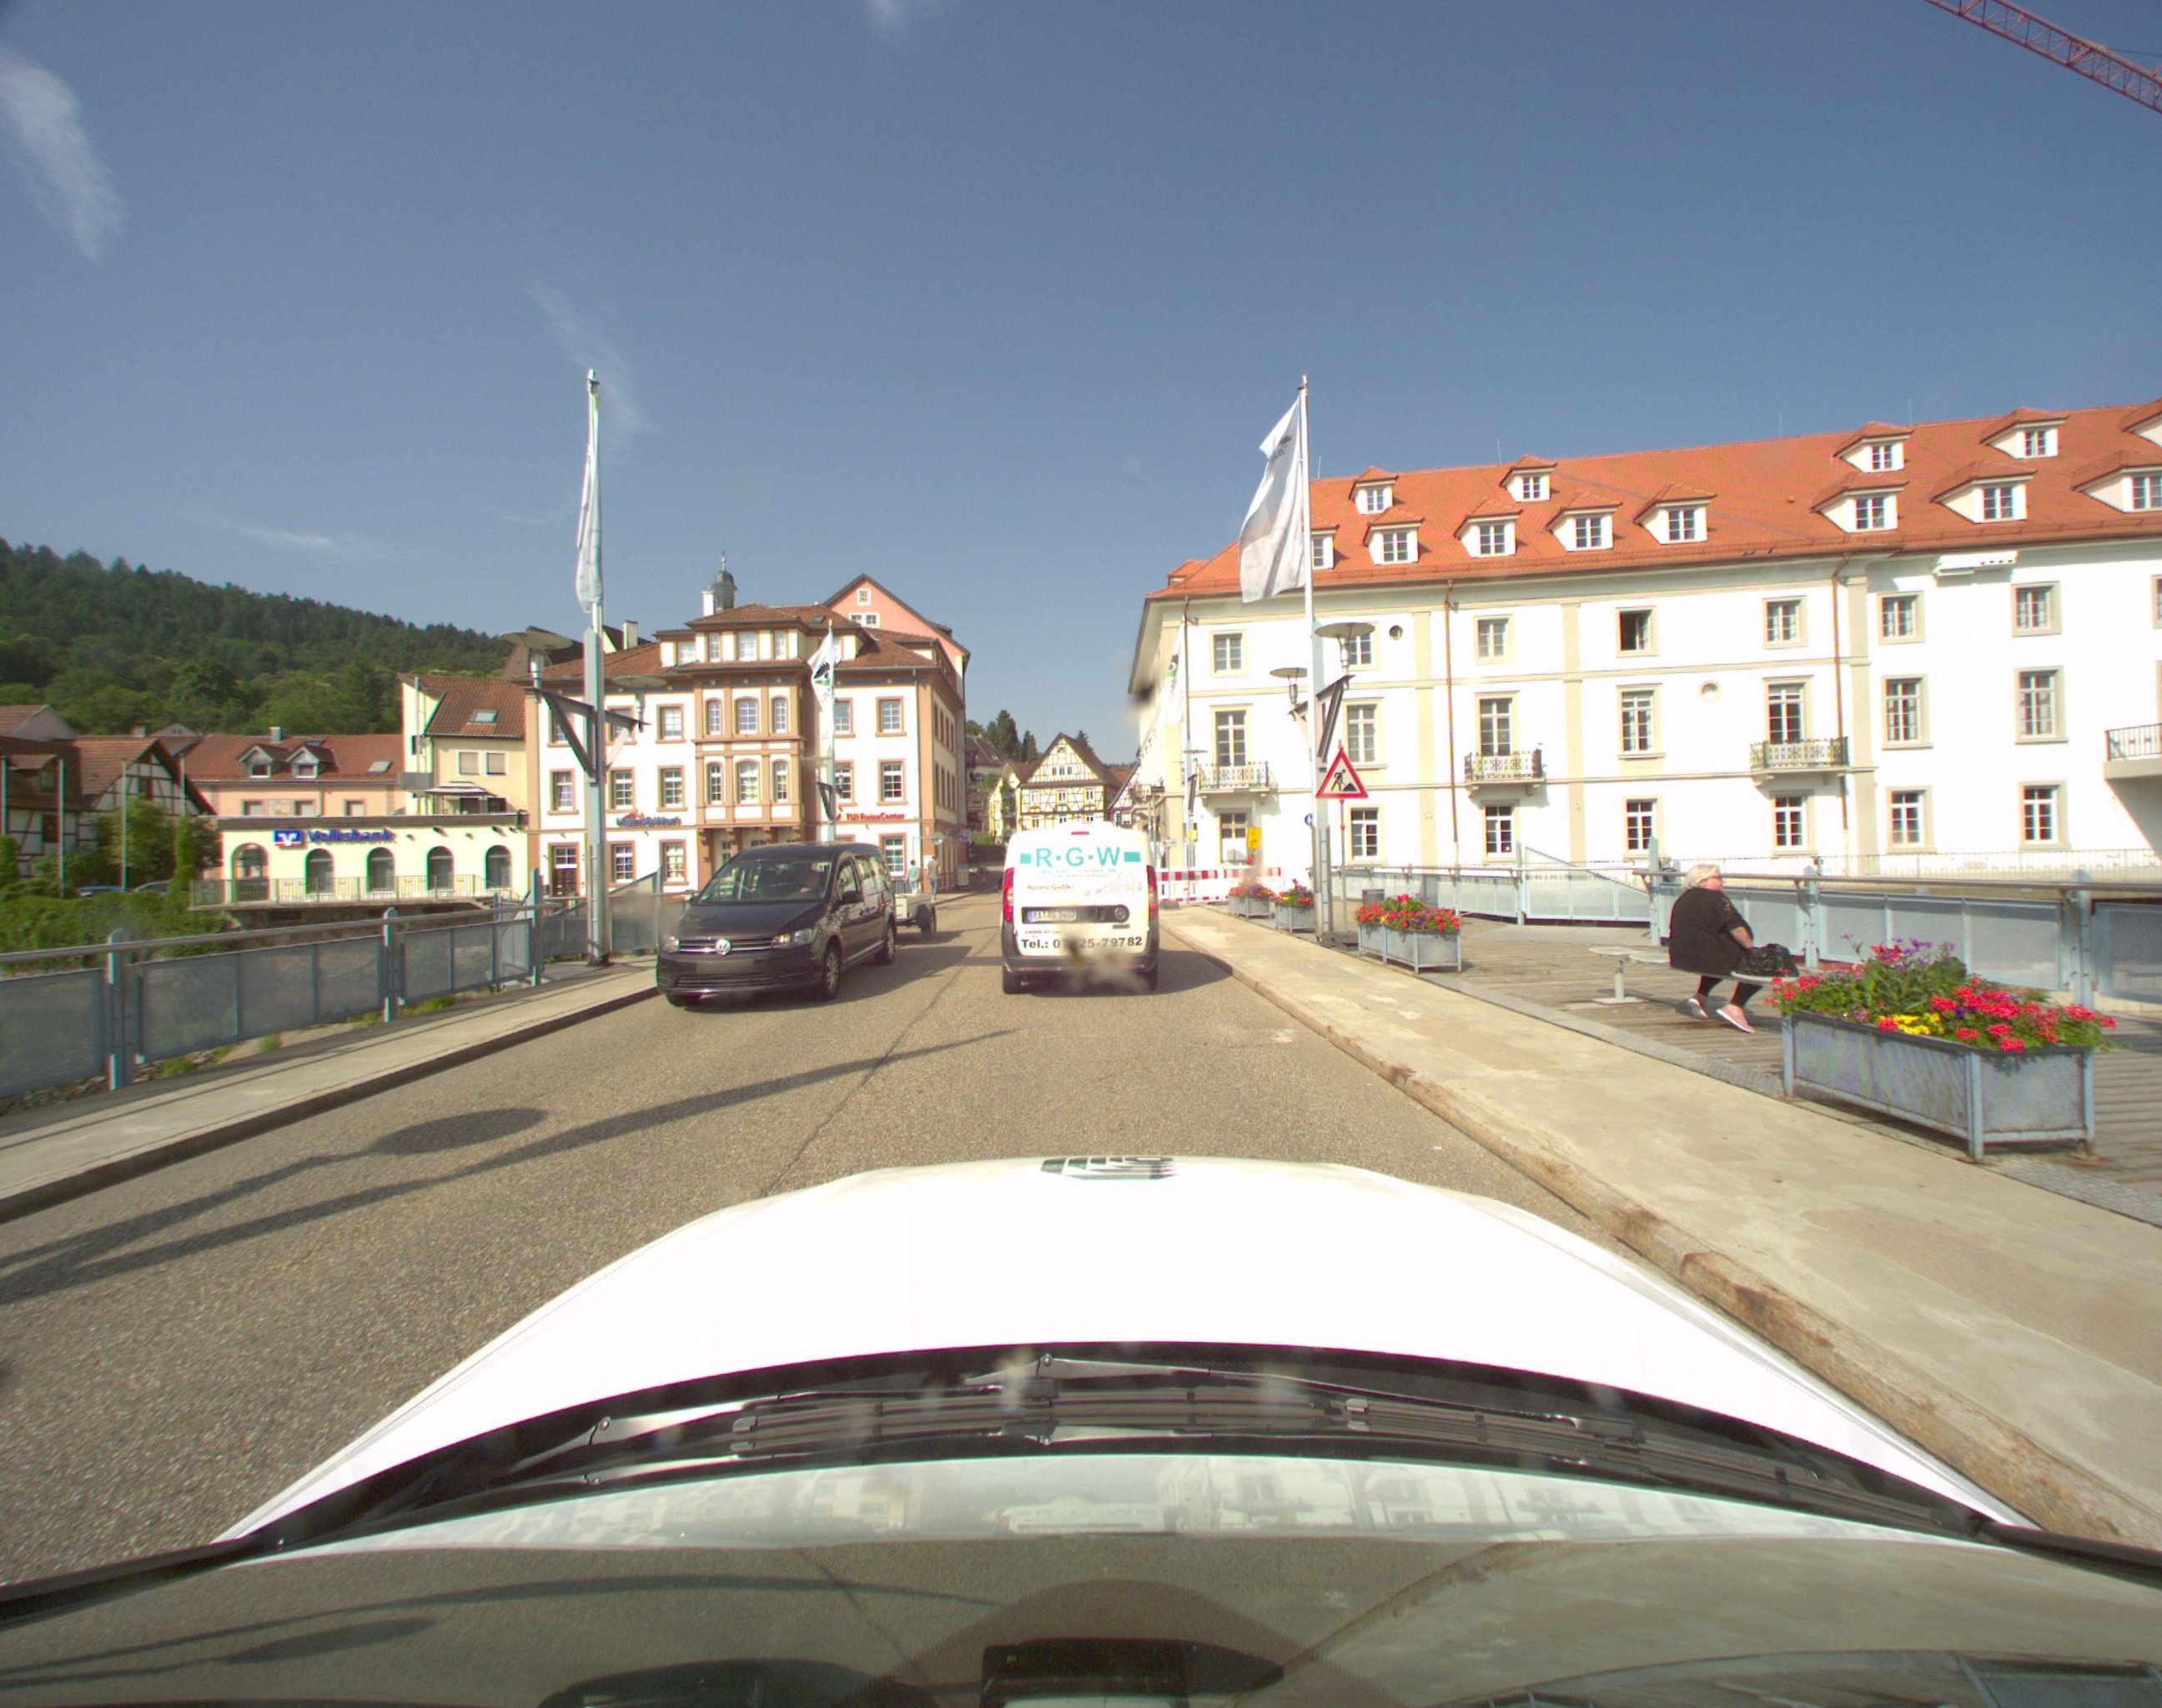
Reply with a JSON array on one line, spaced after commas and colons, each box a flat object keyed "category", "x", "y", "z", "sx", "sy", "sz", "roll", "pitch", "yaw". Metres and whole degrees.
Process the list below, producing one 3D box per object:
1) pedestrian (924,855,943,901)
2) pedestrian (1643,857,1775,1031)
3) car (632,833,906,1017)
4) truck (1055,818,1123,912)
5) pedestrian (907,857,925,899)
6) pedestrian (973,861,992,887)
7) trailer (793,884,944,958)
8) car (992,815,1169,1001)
[{"category": "pedestrian", "x": -5.764, "y": 0.922, "z": 31.860, "sx": 0.613, "sy": 1.762, "sz": 0.863, "roll": -1, "pitch": 0, "yaw": -3}, {"category": "pedestrian", "x": 4.784, "y": 0.656, "z": 6.232, "sx": 0.451, "sy": 1.244, "sz": 0.624, "roll": -2, "pitch": -1, "yaw": -9}, {"category": "car", "x": -3.576, "y": 0.678, "z": 10.384, "sx": 1.772, "sy": 1.792, "sz": 4.694, "roll": -1, "pitch": 0, "yaw": -2}, {"category": "truck", "x": 0.151, "y": 0.318, "z": 24.879, "sx": 1.856, "sy": 2.585, "sz": 4.257, "roll": -1, "pitch": 0, "yaw": -2}, {"category": "pedestrian", "x": -6.499, "y": 0.948, "z": 32.118, "sx": 0.582, "sy": 1.609, "sz": 0.536, "roll": -1, "pitch": 0, "yaw": -4}, {"category": "pedestrian", "x": -6.365, "y": 1.300, "z": 52.542, "sx": 1.070, "sy": 1.647, "sz": 0.686, "roll": -2, "pitch": 0, "yaw": 1}, {"category": "trailer", "x": -3.670, "y": 1.119, "z": 14.819, "sx": 1.746, "sy": 1.022, "sz": 4.182, "roll": -2, "pitch": -1, "yaw": -2}, {"category": "car", "x": -0.174, "y": 0.565, "z": 10.667, "sx": 1.841, "sy": 1.906, "sz": 4.307, "roll": -1, "pitch": 0, "yaw": -5}]
